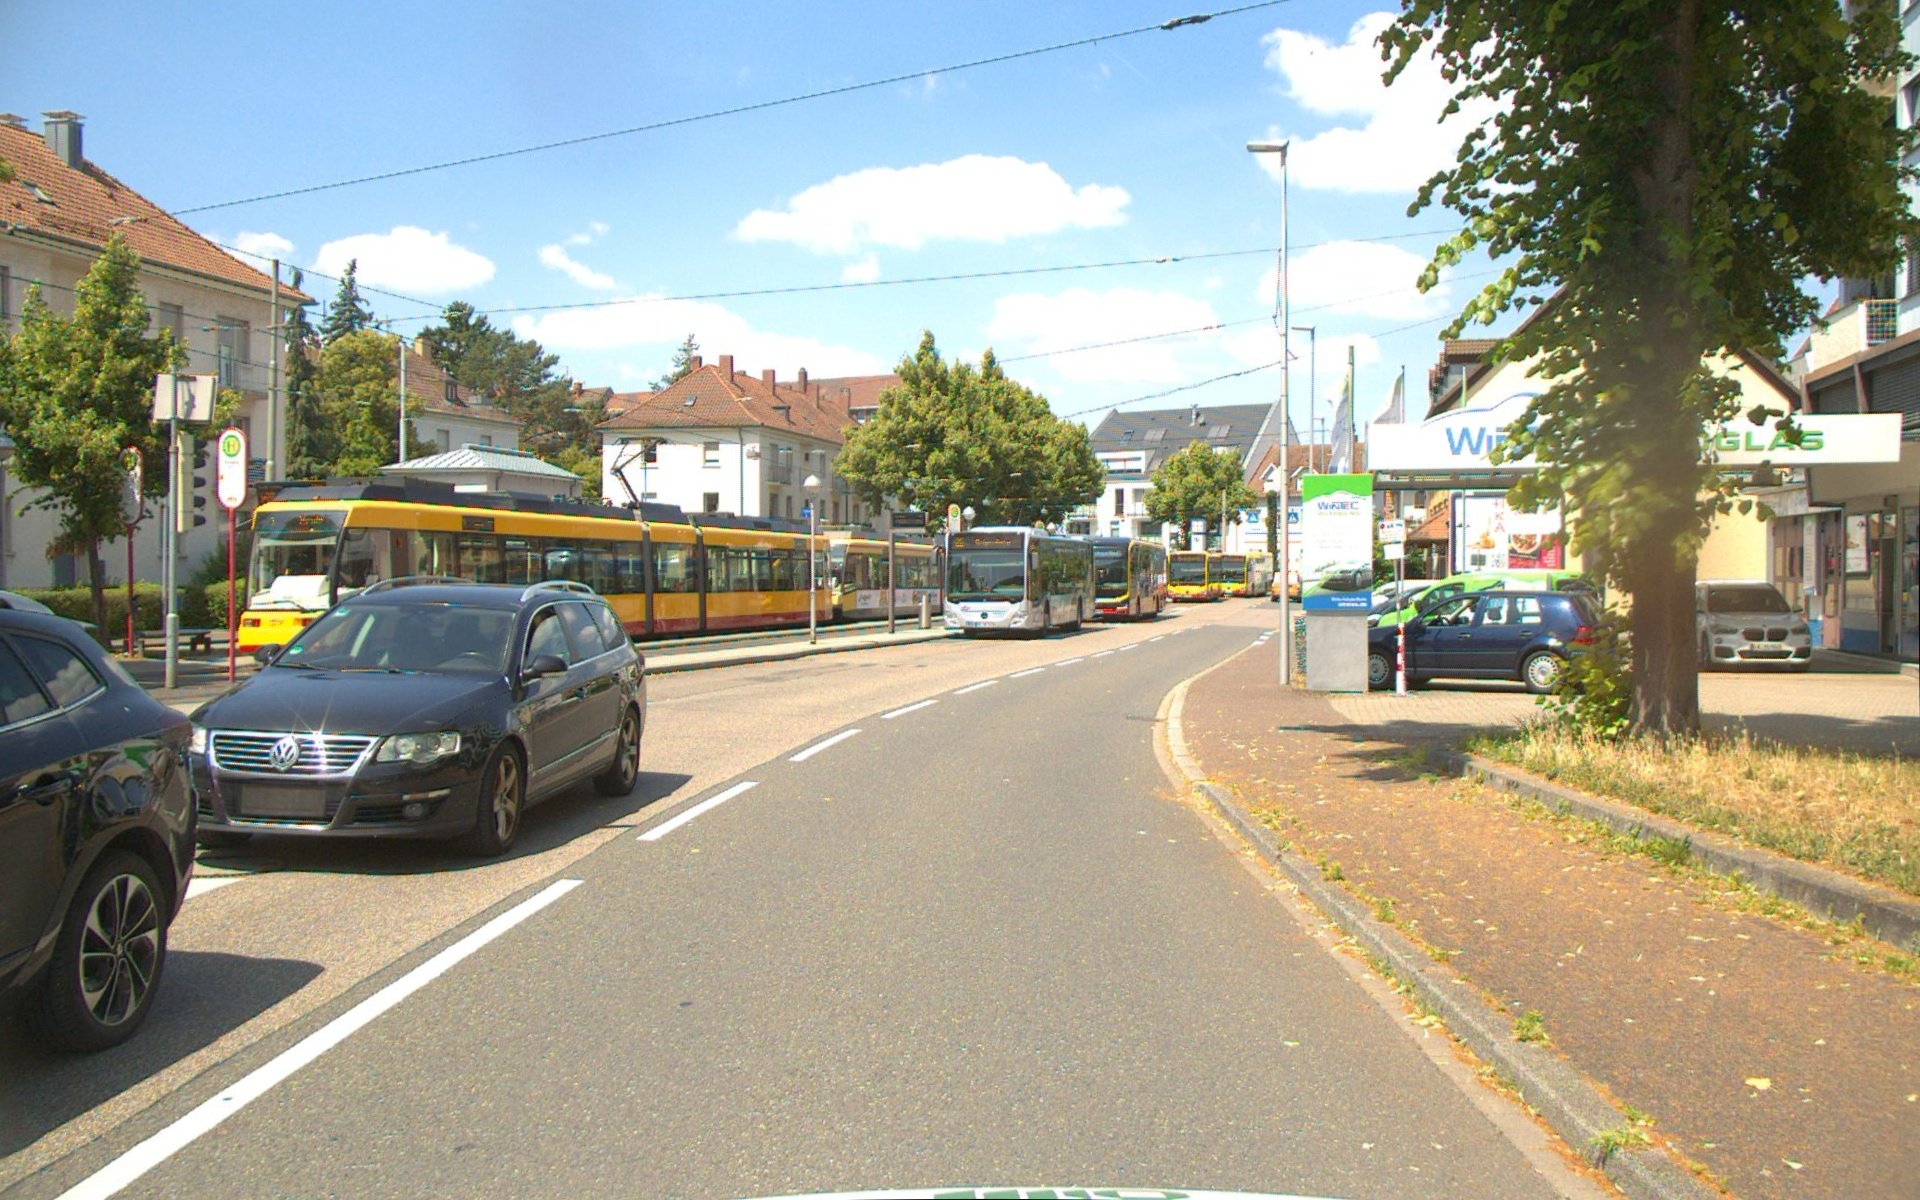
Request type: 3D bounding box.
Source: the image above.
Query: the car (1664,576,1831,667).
[{"bbox_3d":[15.172,0.364,32.100,1.965,1.624,4.292,1,0,12],"label":"car"}]

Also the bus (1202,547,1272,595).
[{"bbox_3d":[20.078,-2.057,119.246,2.581,3.275,9.936,0,1,24],"label":"bus"}]

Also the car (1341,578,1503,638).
[{"bbox_3d":[12.299,0.213,44.239,3.848,1.545,1.823,0,0,1],"label":"car"}]

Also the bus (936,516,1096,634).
[{"bbox_3d":[1.995,-0.744,50.948,2.672,3.183,12.018,0,1,13],"label":"bus"}]

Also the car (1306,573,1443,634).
[{"bbox_3d":[13.589,0.082,54.465,4.212,1.840,2.002,1,2,10],"label":"car"}]

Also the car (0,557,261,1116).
[{"bbox_3d":[-3.606,0.644,3.910,1.952,1.526,4.426,1,1,1],"label":"car"}]

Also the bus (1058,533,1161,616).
[{"bbox_3d":[6.493,-1.060,69.820,2.672,3.183,12.018,0,1,13],"label":"bus"}]

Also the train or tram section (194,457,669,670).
[{"bbox_3d":[-10.373,-0.706,35.431,2.749,3.630,14.193,0,1,13],"label":"train or tram section"}]

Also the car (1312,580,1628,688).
[{"bbox_3d":[7.479,0.460,24.386,4.089,1.464,1.895,0,0,36],"label":"car"}]

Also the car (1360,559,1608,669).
[{"bbox_3d":[9.309,0.218,29.626,1.821,1.825,3.975,0,0,-35],"label":"car"}]

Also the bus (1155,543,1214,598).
[{"bbox_3d":[14.335,-1.848,104.812,2.672,3.275,11.058,0,1,13],"label":"bus"}]

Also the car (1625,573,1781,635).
[{"bbox_3d":[24.009,0.117,53.594,4.212,1.840,2.002,1,2,9],"label":"car"}]

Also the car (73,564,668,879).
[{"bbox_3d":[-3.346,0.579,10.501,1.952,1.545,4.514,1,1,3],"label":"car"}]

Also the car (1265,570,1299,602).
[{"bbox_3d":[20.814,-0.904,106.843,1.770,2.015,4.003,0,1,16],"label":"car"}]

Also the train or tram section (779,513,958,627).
[{"bbox_3d":[-3.207,-1.129,65.070,2.725,3.963,15.565,0,1,13],"label":"train or tram section"}]

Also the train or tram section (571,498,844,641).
[{"bbox_3d":[-6.995,-0.867,49.466,2.726,3.630,14.718,0,1,13],"label":"train or tram section"}]
